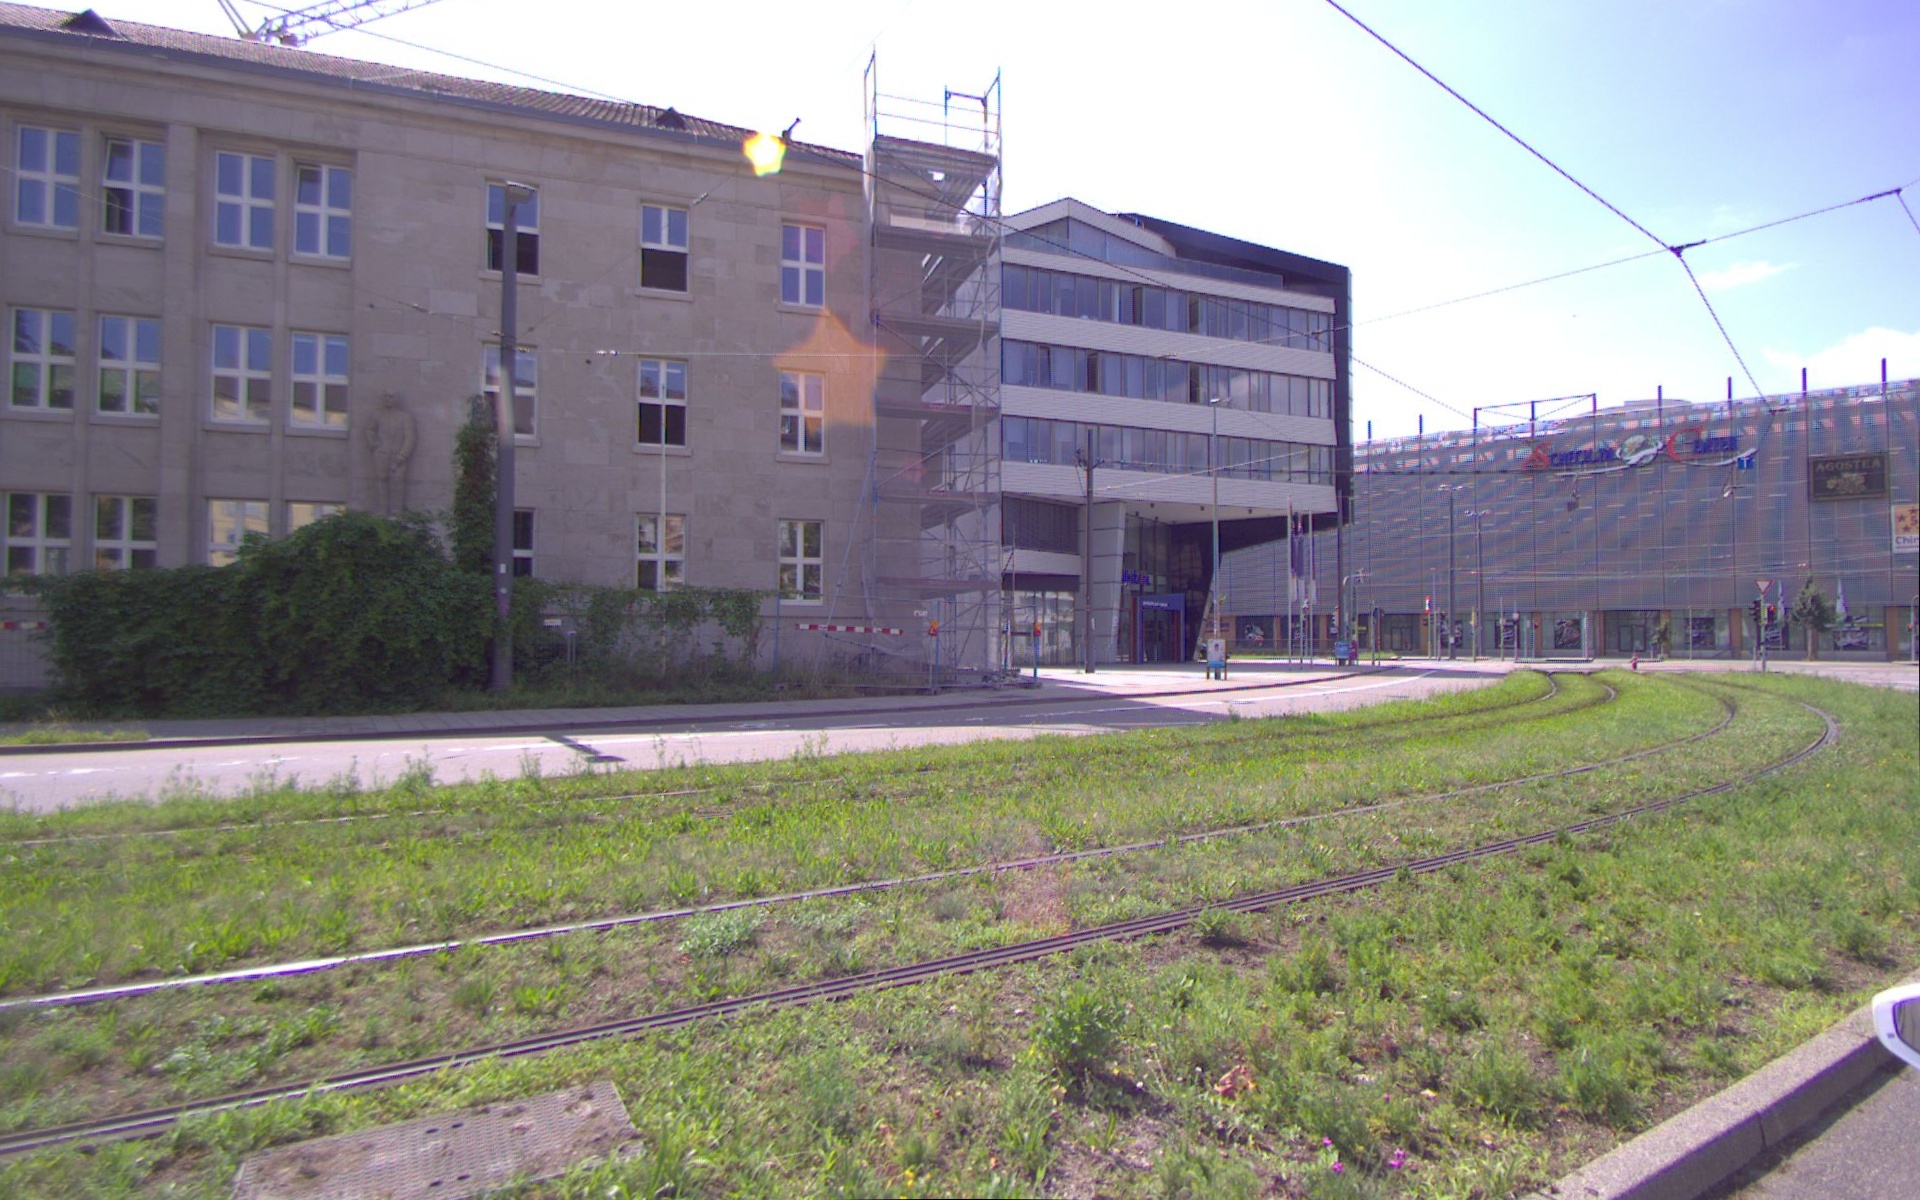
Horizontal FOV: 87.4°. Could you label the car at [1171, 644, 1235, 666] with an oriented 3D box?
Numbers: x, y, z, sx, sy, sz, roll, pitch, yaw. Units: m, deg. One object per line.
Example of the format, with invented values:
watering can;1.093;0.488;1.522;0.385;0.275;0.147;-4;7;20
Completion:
car;17.048;3.857;70.549;4.044;1.488;1.822;-1;-3;35
